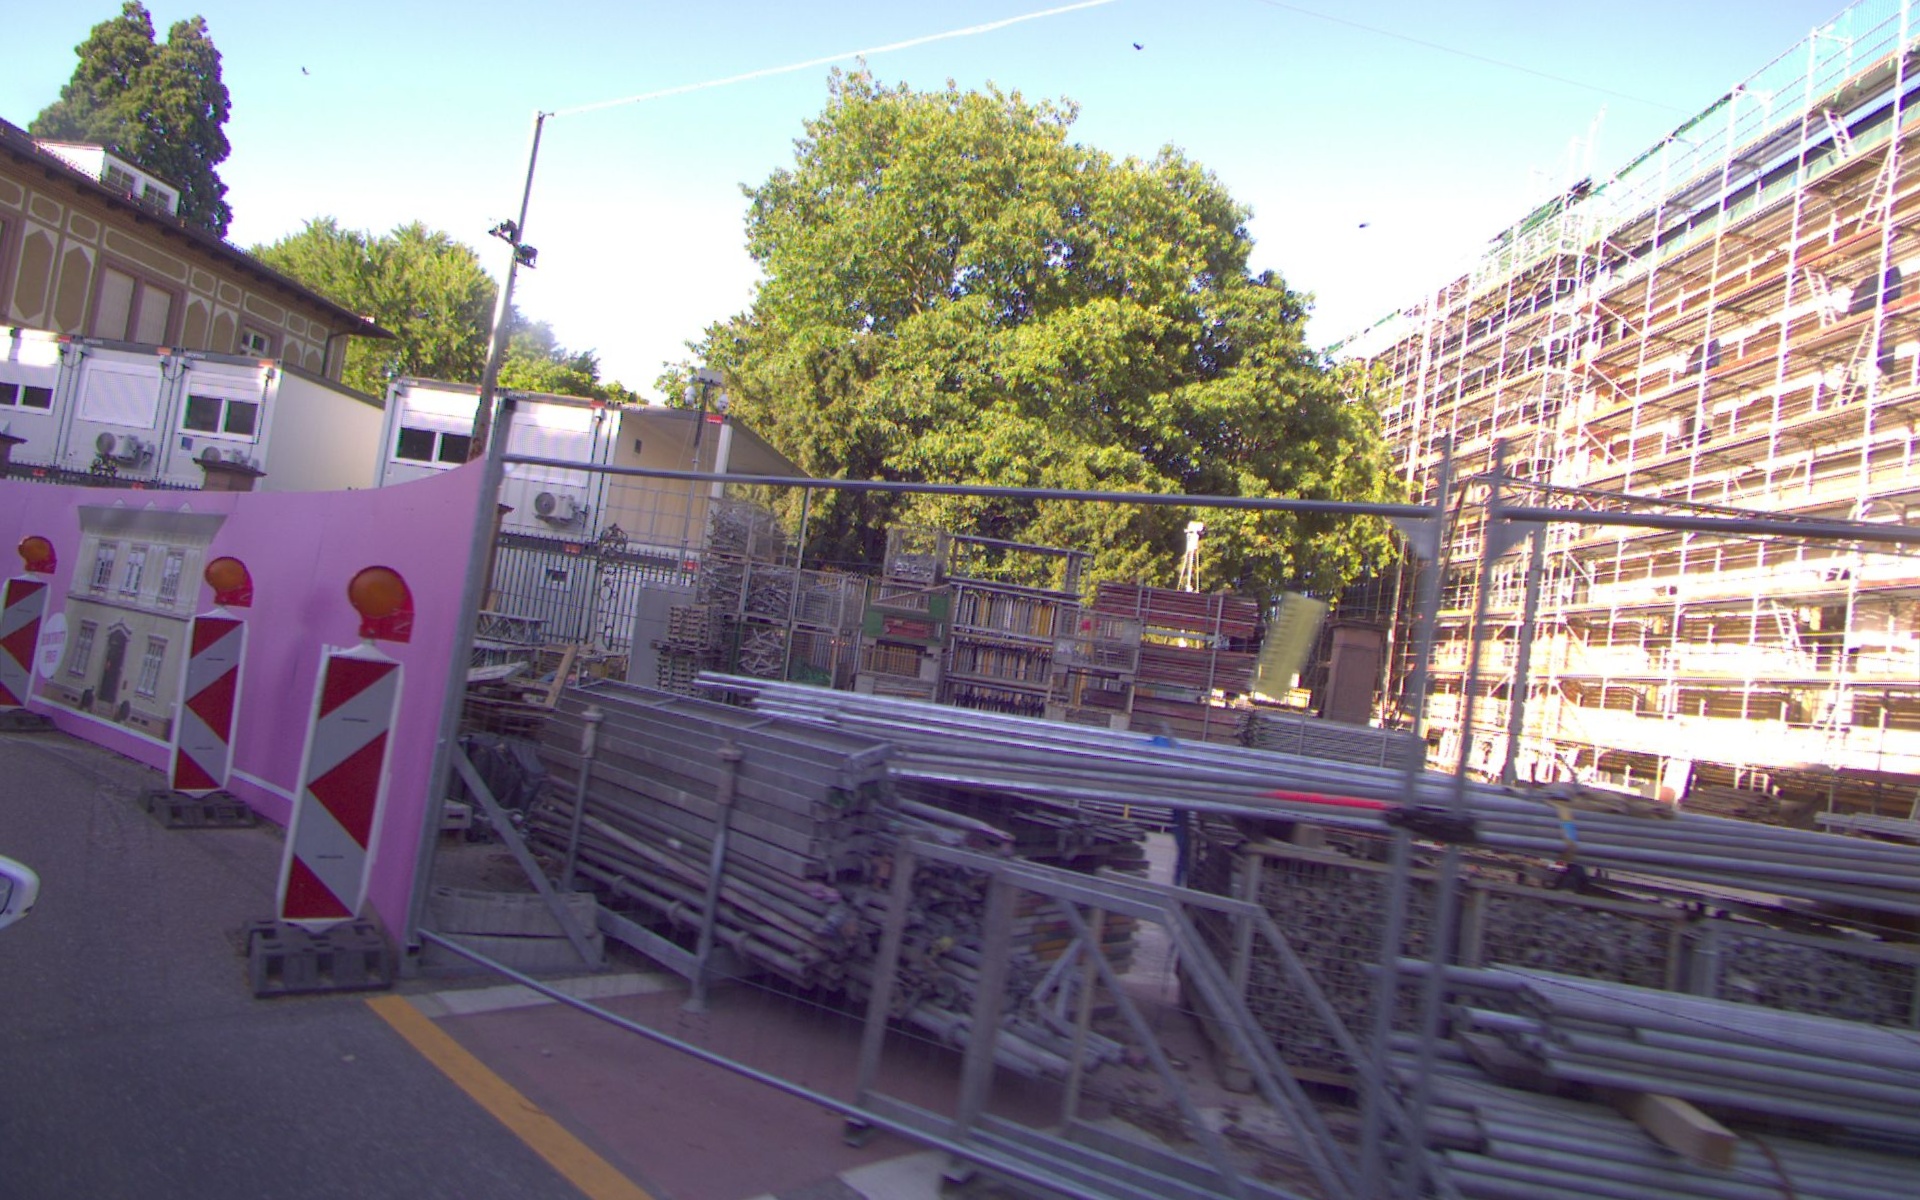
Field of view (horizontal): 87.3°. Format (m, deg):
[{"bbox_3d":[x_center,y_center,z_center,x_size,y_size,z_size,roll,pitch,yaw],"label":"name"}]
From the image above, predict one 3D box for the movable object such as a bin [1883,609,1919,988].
[{"bbox_3d":[9.912,1.657,6.679,4.303,3.335,3.178,8,-3,6],"label":"movable object such as a bin"}]
